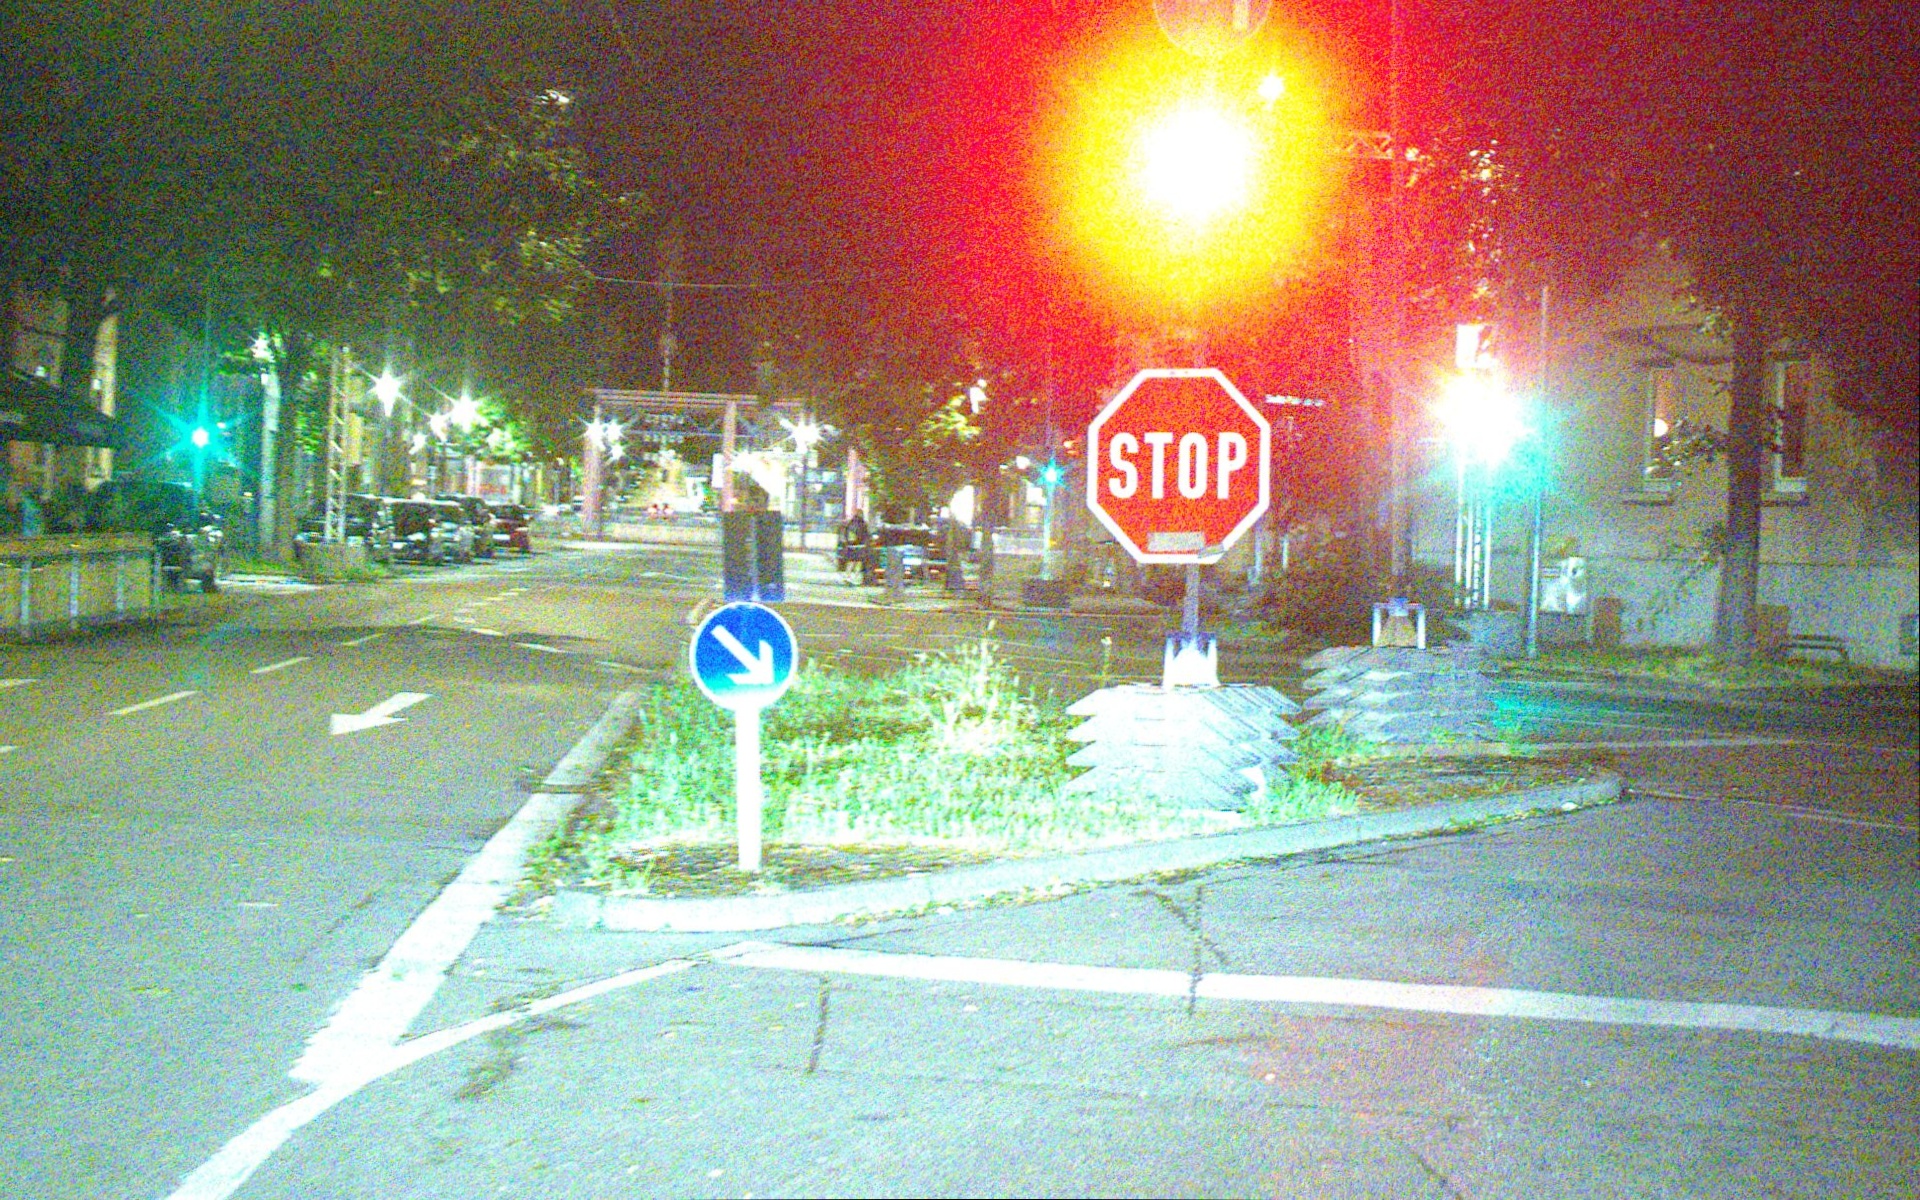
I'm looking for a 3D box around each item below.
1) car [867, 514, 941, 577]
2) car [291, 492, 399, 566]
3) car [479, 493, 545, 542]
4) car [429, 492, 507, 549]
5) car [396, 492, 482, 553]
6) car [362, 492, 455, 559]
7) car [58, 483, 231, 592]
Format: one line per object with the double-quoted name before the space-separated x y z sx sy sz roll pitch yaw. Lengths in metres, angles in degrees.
"car" -1.343 -1.301 80.983 1.651 1.426 4.001 1 1 -2
"car" -12.459 -1.446 69.798 1.651 1.426 4.001 1 1 -3
"car" -13.589 -2.502 104.523 1.651 1.426 4.001 1 1 -3
"car" -12.974 -2.096 90.803 1.651 1.426 4.001 1 1 -3
"car" -12.699 -1.895 83.923 1.651 1.426 4.001 1 1 -3
"car" -12.472 -1.698 77.918 1.651 1.426 4.001 1 1 -3
"car" -11.450 -0.897 48.493 1.651 1.426 4.001 1 1 -3
